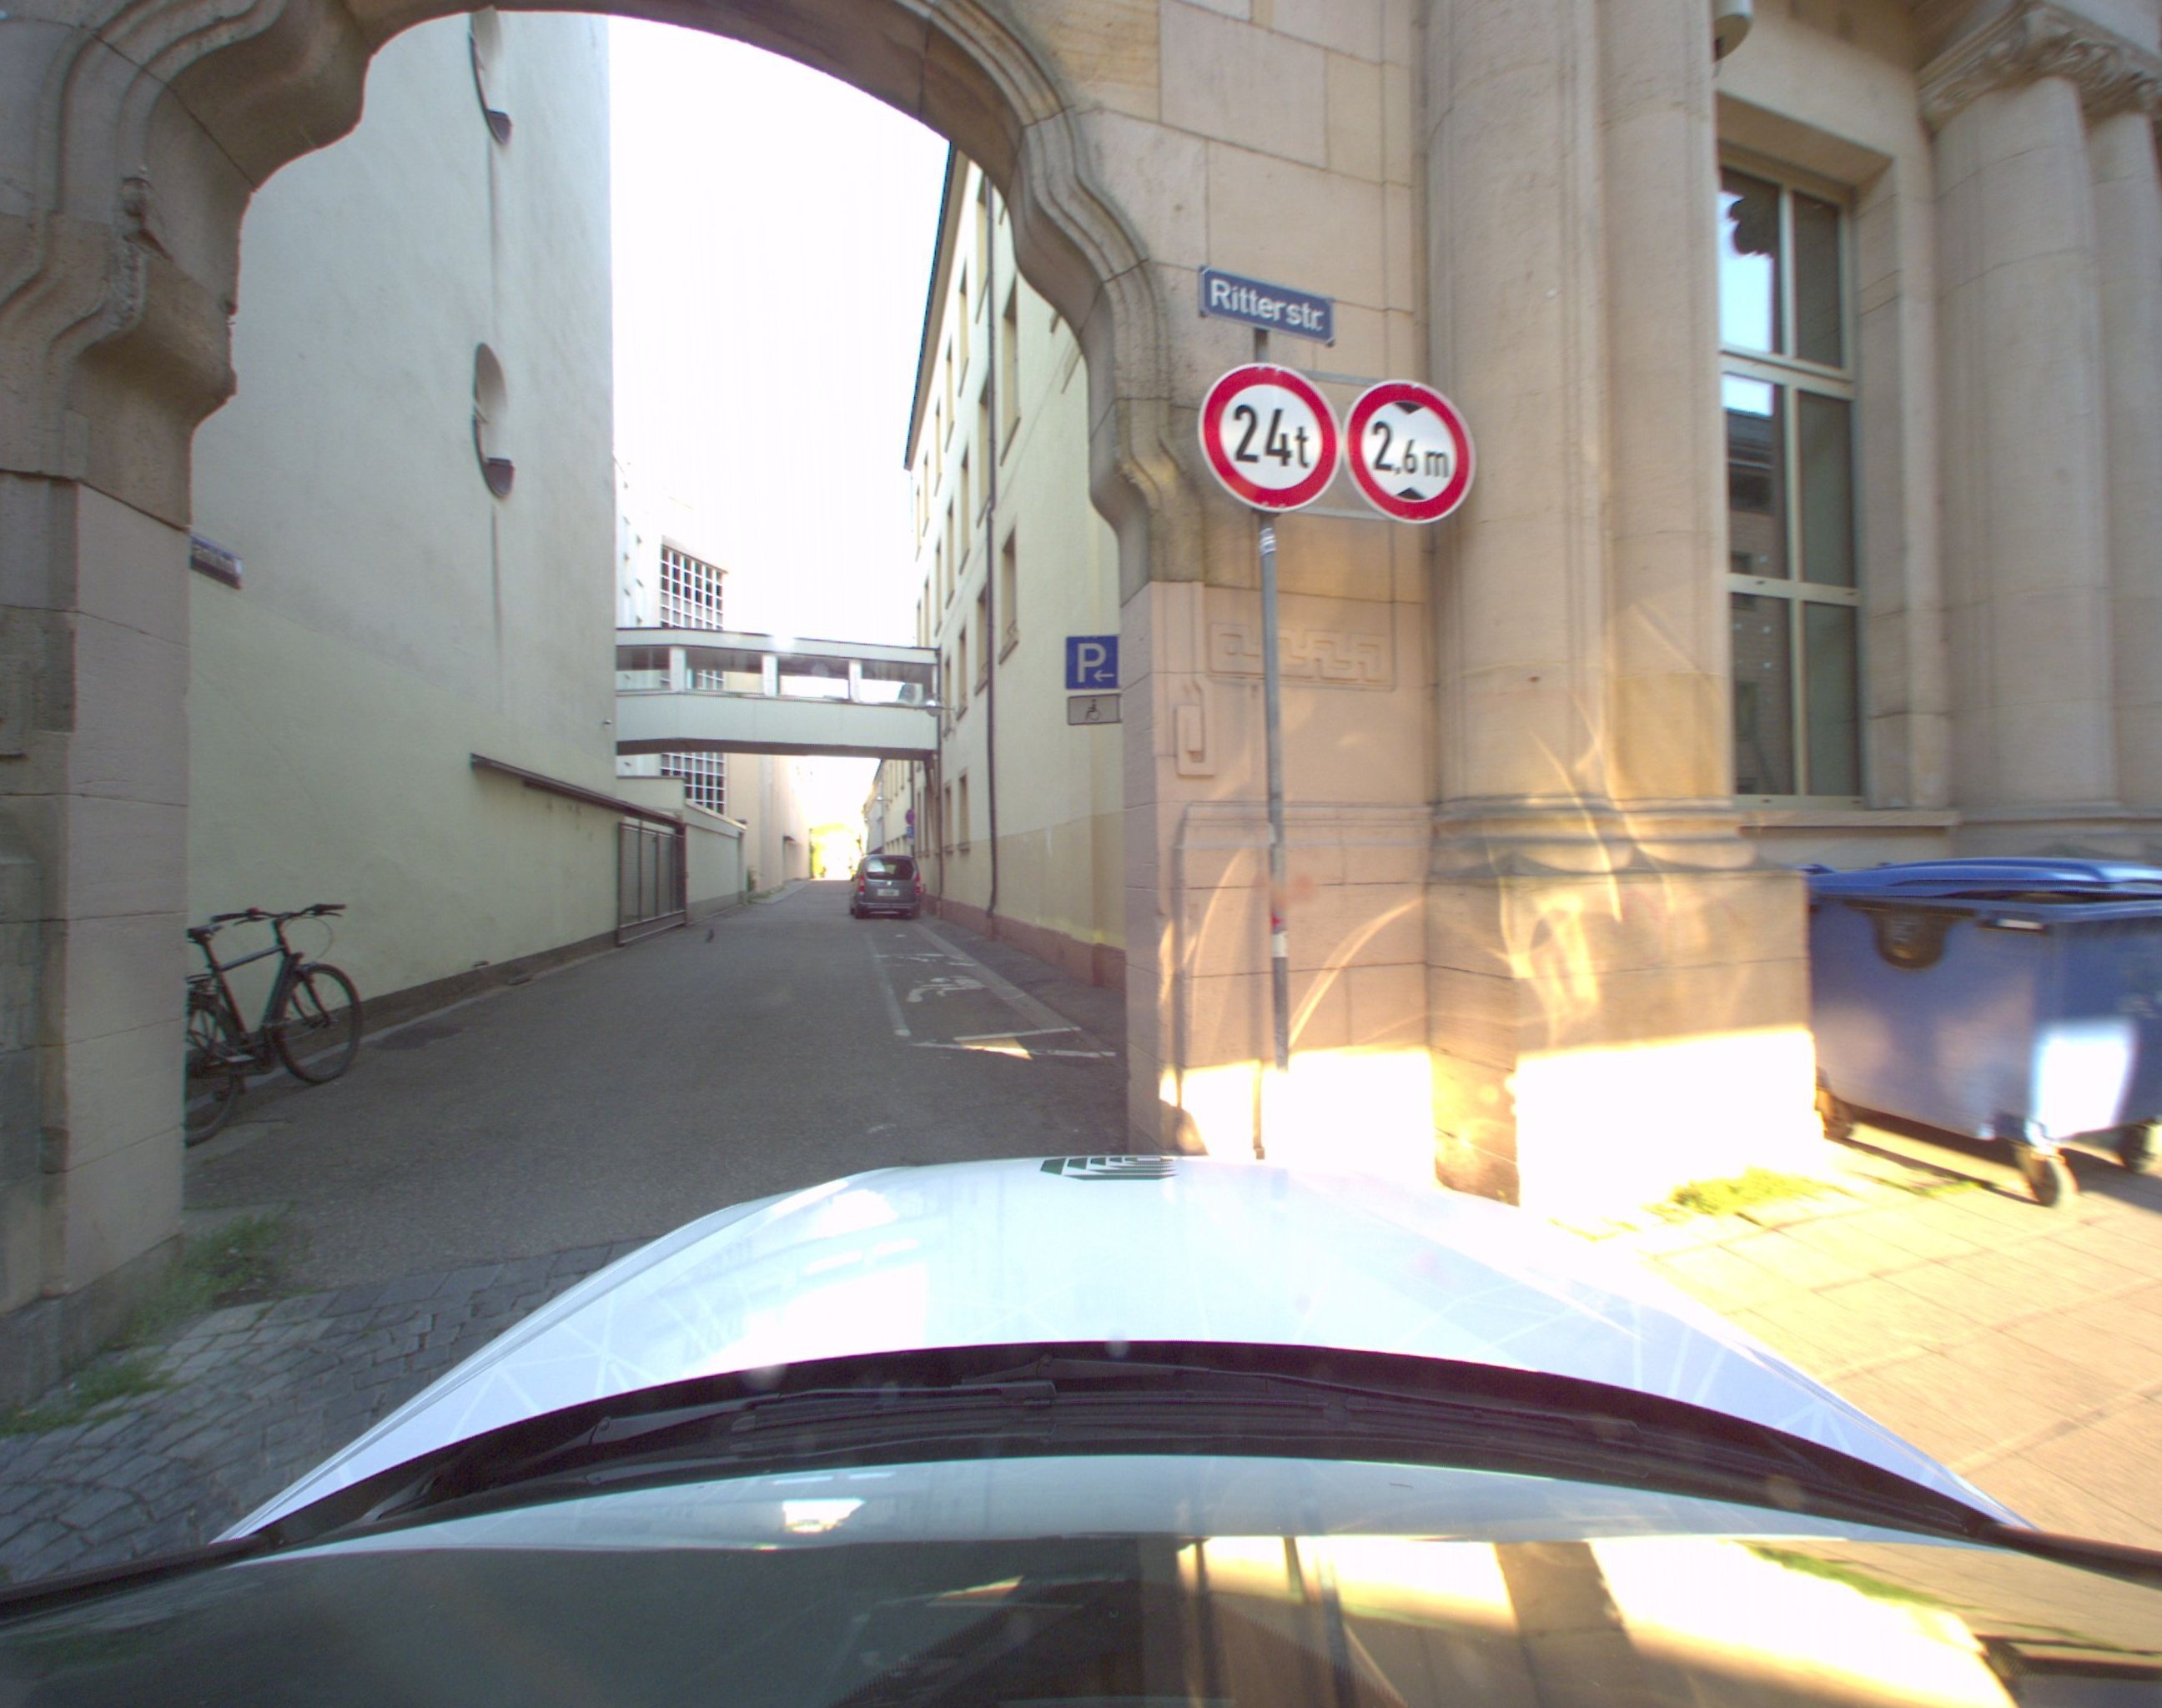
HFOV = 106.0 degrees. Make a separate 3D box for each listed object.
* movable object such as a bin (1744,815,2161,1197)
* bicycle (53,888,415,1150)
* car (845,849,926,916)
[{"bbox_3d":[4.100,0.569,3.794,1.184,1.474,1.073,-1,1,-13],"label":"movable object such as a bin"},{"bbox_3d":[-4.488,0.764,4.513,0.596,1.079,1.746,-1,0,-17],"label":"bicycle"},{"bbox_3d":[-5.844,0.824,24.014,1.861,1.756,4.135,2,-2,-19],"label":"car"}]
